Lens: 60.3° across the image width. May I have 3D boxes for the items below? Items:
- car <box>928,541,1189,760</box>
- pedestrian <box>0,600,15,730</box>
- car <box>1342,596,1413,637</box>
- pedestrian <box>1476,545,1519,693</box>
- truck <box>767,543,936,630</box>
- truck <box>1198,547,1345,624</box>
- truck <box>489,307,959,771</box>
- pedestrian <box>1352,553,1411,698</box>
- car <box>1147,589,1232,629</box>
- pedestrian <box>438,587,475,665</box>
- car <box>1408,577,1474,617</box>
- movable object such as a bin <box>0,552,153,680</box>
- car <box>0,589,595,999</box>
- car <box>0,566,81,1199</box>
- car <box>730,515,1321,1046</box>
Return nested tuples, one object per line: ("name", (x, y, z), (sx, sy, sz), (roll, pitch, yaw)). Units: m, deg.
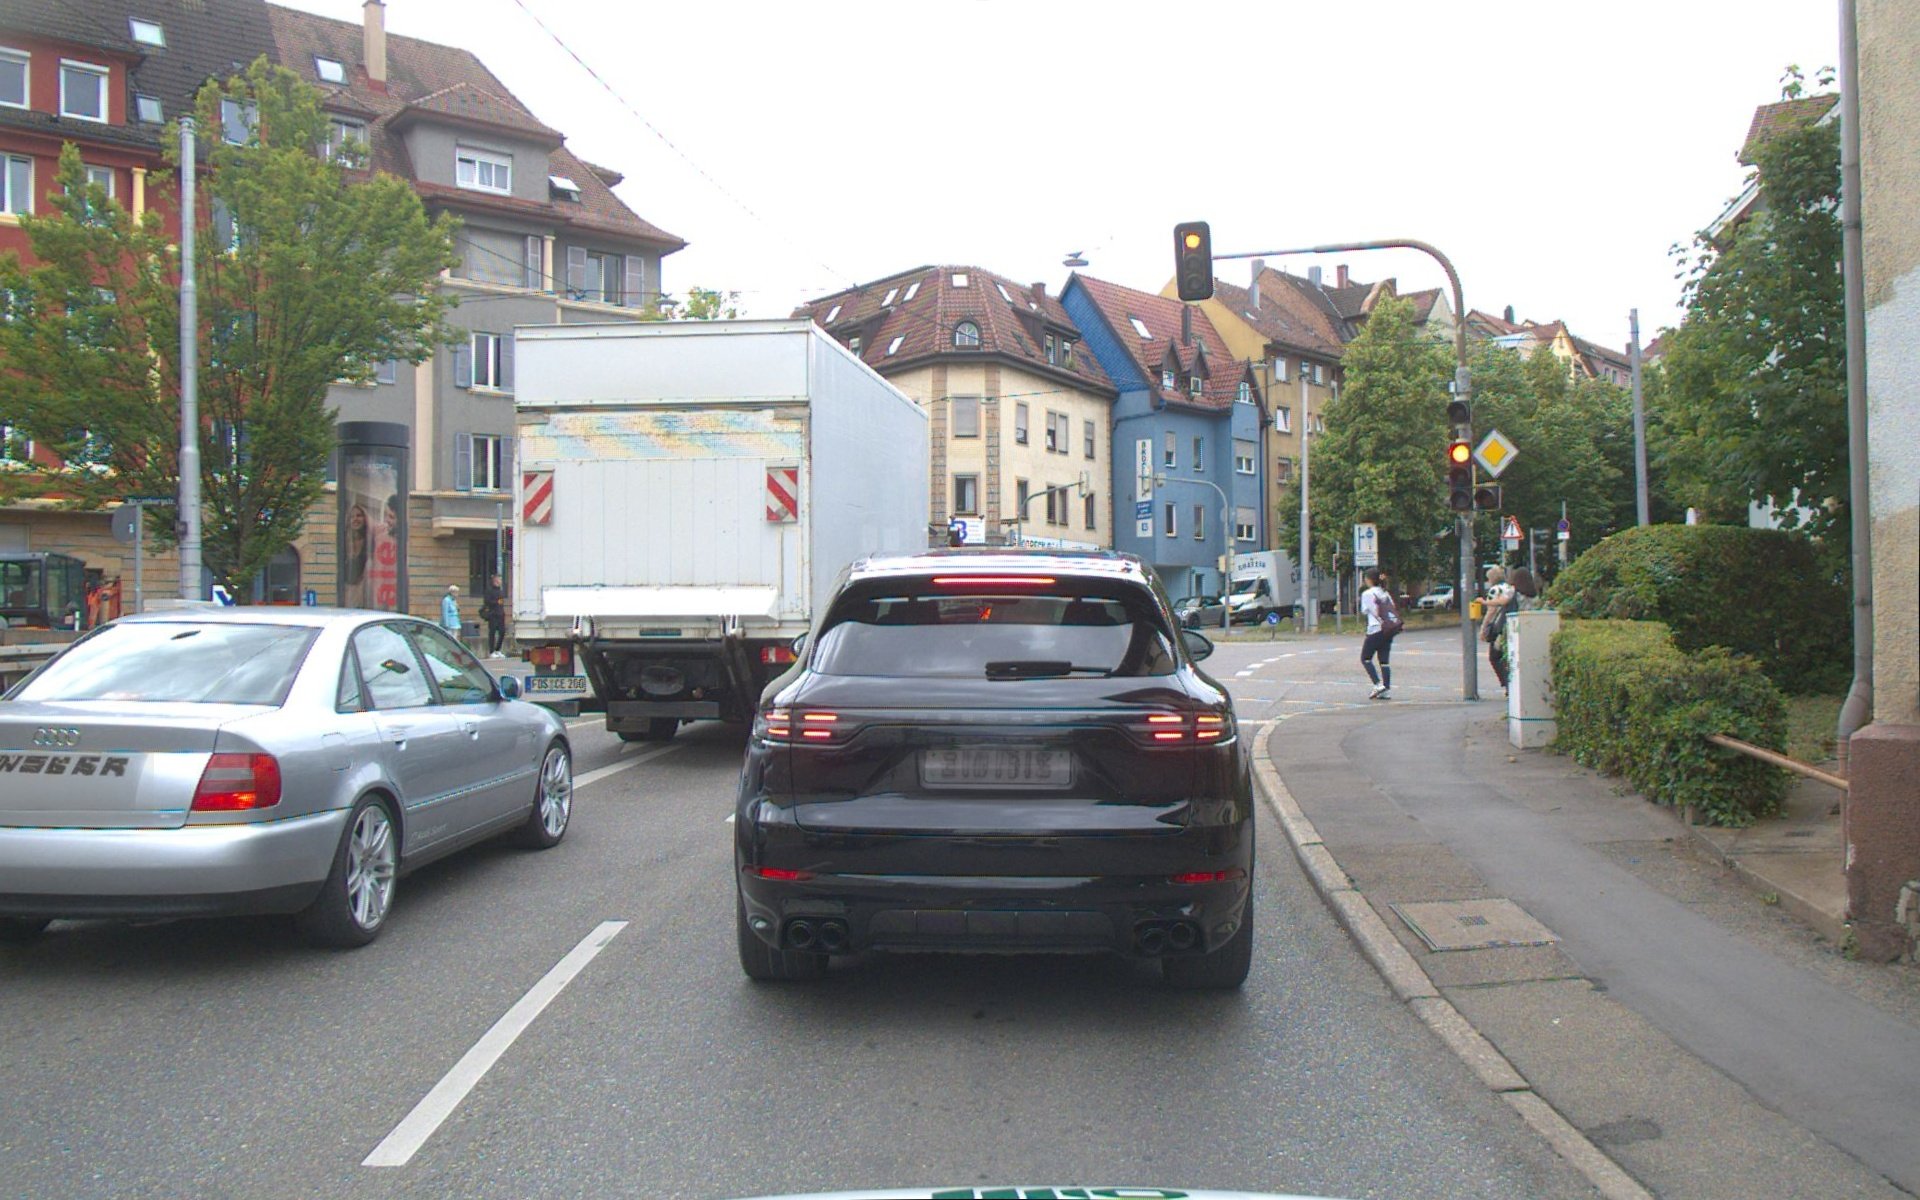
("car", (1.043, 0.399, 15.078), (1.951, 1.713, 4.003), (0, 0, 10))
("pedestrian", (-13.274, 0.879, 22.585), (0.537, 1.760, 0.586), (2, -1, -35))
("car", (21.850, 0.872, 86.529), (1.965, 2.049, 3.975), (2, 0, 42))
("pedestrian", (6.924, 0.244, 21.314), (0.453, 1.869, 0.324), (2, -1, 14))
("truck", (-3.904, -0.460, 58.118), (2.484, 2.853, 6.621), (2, -1, -40))
("truck", (14.925, -0.636, 78.670), (2.830, 3.398, 8.744), (2, 0, 41))
("truck", (-1.906, -0.535, 17.136), (2.710, 3.637, 8.071), (1, 1, 8))
("pedestrian", (5.528, 0.331, 21.721), (0.577, 1.851, 0.529), (2, -1, 0))
("car", (10.021, 0.393, 72.036), (1.961, 1.713, 3.983), (0, 0, 37))
("pedestrian", (-10.587, 0.544, 34.801), (0.577, 1.594, 0.486), (2, -1, -1))
("car", (26.651, -0.170, 91.640), (1.965, 2.049, 3.975), (2, 0, 42))
("movable object such as a bin", (-13.996, 0.213, 25.559), (1.870, 1.802, 3.986), (2, 0, -14))
("car", (-3.162, 0.676, 7.998), (1.661, 1.397, 4.179), (0, 1, 3))
("car", (-2.570, 0.670, 1.019), (1.712, 1.480, 4.445), (0, 0, -1))
("car", (0.104, 0.557, 7.404), (1.939, 1.713, 3.997), (0, 1, -4))
